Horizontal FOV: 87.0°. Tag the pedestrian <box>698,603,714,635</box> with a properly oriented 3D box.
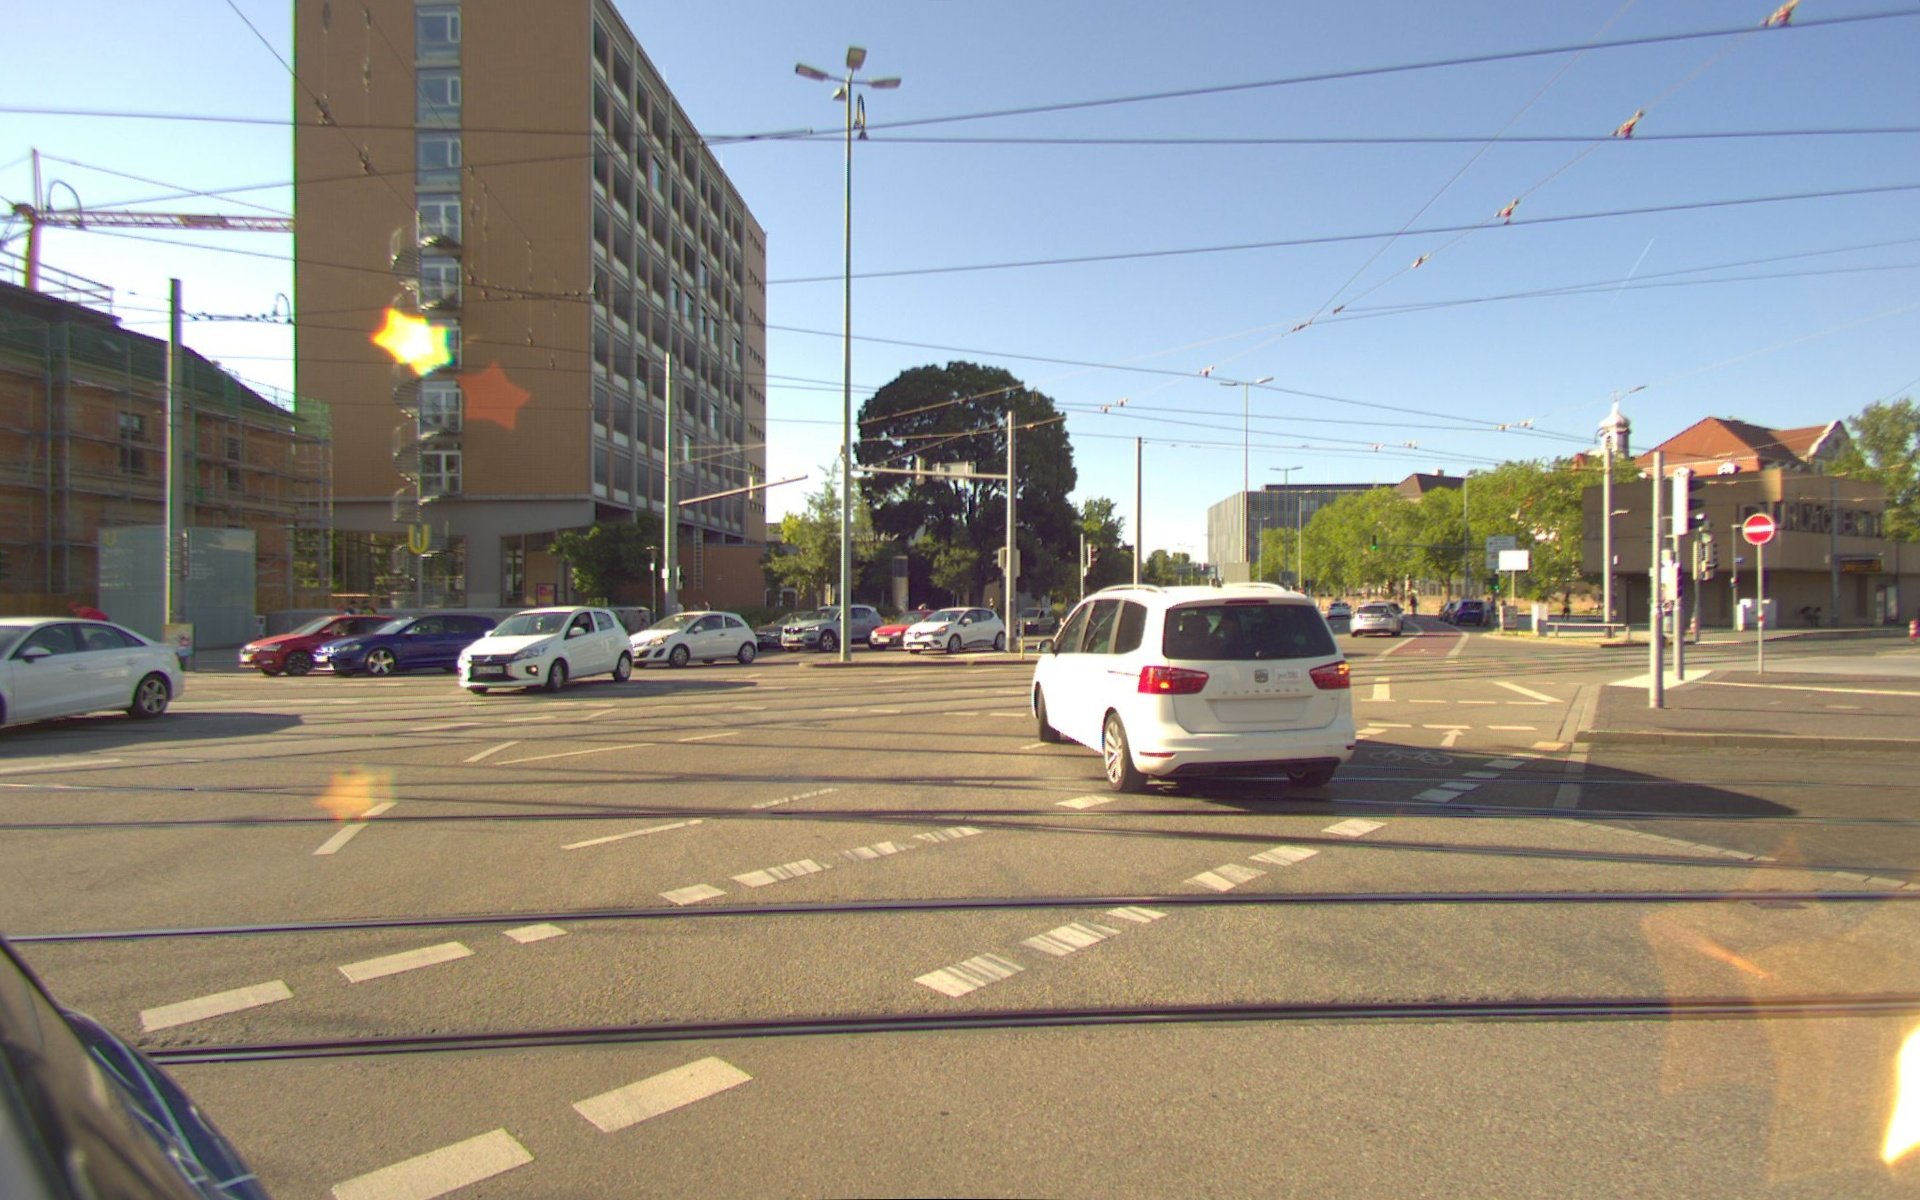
[{"bbox_3d":[-13.249,0.994,52.787,0.570,1.648,0.500,-3,-2,24],"label":"pedestrian"}]

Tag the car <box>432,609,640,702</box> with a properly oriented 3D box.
[{"bbox_3d":[-7.589,0.930,18.541,1.703,1.504,3.857,-1,-1,11],"label":"car"}]

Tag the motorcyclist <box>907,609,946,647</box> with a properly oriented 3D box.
[{"bbox_3d":[-1.544,1.295,46.565,1.116,1.680,1.436,-4,-3,37],"label":"motorcyclist"}]

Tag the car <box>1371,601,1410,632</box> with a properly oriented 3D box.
[{"bbox_3d":[24.220,0.916,56.832,1.713,1.643,3.835,-2,-1,27],"label":"car"}]

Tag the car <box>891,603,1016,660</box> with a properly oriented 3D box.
[{"bbox_3d":[-0.129,0.930,32.225,1.994,1.689,4.235,0,0,33],"label":"car"}]

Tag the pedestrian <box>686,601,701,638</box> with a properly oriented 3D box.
[{"bbox_3d":[-12.123,0.870,46.033,0.425,1.648,0.500,-3,-2,24],"label":"pedestrian"}]

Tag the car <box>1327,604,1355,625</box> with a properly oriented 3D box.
[{"bbox_3d":[31.473,1.189,83.614,1.847,1.643,3.839,-5,-2,24],"label":"car"}]

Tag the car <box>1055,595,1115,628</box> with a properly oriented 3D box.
[{"bbox_3d":[6.828,0.634,54.832,1.816,1.741,3.959,-1,-1,30],"label":"car"}]

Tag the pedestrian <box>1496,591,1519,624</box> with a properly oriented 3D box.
[{"bbox_3d":[30.732,0.448,56.848,0.796,1.782,0.969,-3,-2,13],"label":"pedestrian"}]

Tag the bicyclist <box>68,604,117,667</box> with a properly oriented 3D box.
[{"bbox_3d":[-24.673,0.994,28.784,1.001,1.721,0.695,2,1,-43],"label":"bicyclist"}]

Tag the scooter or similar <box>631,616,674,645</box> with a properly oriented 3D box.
[{"bbox_3d":[-14.418,1.436,47.519,1.798,1.256,0.802,-1,-2,-25],"label":"scooter or similar"}]

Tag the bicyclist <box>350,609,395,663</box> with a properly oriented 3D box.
[{"bbox_3d":[-18.084,1.105,31.139,1.002,1.599,0.694,2,1,-45],"label":"bicyclist"}]

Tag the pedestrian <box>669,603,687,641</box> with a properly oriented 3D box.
[{"bbox_3d":[-13.043,1.004,46.811,0.615,1.724,0.487,-1,-3,-39],"label":"pedestrian"}]

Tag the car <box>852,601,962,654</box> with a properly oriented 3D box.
[{"bbox_3d":[-1.810,0.971,35.713,1.993,1.697,3.958,-4,-2,31],"label":"car"}]

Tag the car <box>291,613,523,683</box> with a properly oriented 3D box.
[{"bbox_3d":[-13.055,1.111,24.199,1.812,1.504,4.601,-2,-3,33],"label":"car"}]

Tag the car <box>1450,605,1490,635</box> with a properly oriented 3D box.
[{"bbox_3d":[30.814,1.204,61.248,1.853,1.643,4.005,-5,-2,24],"label":"car"}]

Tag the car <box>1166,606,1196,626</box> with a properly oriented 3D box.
[{"bbox_3d":[19.769,1.415,90.429,1.812,1.741,3.968,-1,-1,23],"label":"car"}]

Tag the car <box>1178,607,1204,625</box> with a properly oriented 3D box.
[{"bbox_3d":[22.683,1.589,99.382,1.812,1.741,3.968,-1,-1,23],"label":"car"}]

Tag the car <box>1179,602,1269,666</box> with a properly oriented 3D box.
[{"bbox_3d":[8.007,0.972,30.453,1.930,1.760,4.585,0,-1,24],"label":"car"}]

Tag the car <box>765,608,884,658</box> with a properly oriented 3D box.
[{"bbox_3d":[-4.743,1.142,35.852,1.995,1.619,3.953,-2,-1,35],"label":"car"}]

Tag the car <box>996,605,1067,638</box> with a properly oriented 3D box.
[{"bbox_3d":[3.991,1.185,55.949,1.993,1.697,4.657,-4,-2,31],"label":"car"}]

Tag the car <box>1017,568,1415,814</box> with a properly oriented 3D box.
[{"bbox_3d":[2.020,0.659,9.571,1.910,1.747,4.474,0,0,-11],"label":"car"}]

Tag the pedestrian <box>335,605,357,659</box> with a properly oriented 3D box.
[{"bbox_3d":[-20.243,1.046,33.368,0.611,1.752,0.667,1,0,-31],"label":"pedestrian"}]

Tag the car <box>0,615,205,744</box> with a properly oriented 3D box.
[{"bbox_3d":[-11.748,0.930,12.325,1.801,1.398,4.457,0,0,0],"label":"car"}]

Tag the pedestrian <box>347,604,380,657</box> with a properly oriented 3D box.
[{"bbox_3d":[-20.039,1.028,34.021,0.619,1.752,0.726,1,0,27],"label":"pedestrian"}]

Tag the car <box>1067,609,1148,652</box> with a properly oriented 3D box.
[{"bbox_3d":[6.237,1.233,42.465,1.992,1.689,4.239,0,0,30],"label":"car"}]

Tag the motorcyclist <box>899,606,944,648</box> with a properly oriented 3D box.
[{"bbox_3d":[-1.588,1.115,41.734,1.116,1.680,1.436,-4,-3,37],"label":"motorcyclist"}]

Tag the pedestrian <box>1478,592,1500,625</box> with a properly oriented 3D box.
[{"bbox_3d":[29.873,0.498,57.192,0.796,1.782,0.959,-3,-2,13],"label":"pedestrian"}]

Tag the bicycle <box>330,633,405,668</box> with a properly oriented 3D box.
[{"bbox_3d":[-18.188,1.539,31.077,1.852,0.977,0.713,2,1,-45],"label":"bicycle"}]

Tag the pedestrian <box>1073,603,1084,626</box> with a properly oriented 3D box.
[{"bbox_3d":[8.825,1.077,75.577,0.563,1.674,0.586,-4,-3,31],"label":"pedestrian"}]

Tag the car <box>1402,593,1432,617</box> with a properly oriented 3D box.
[{"bbox_3d":[34.643,0.395,76.834,1.846,1.643,3.841,-4,-2,22],"label":"car"}]

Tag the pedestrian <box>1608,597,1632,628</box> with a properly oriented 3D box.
[{"bbox_3d":[39.225,0.755,60.128,0.957,1.782,0.806,-1,-3,-34],"label":"pedestrian"}]

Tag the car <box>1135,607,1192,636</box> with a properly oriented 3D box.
[{"bbox_3d":[12.943,1.354,64.197,1.993,1.697,4.657,-4,-2,31],"label":"car"}]

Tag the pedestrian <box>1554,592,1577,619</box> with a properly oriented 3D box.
[{"bbox_3d":[36.921,0.352,61.719,0.796,1.579,1.175,-3,-2,13],"label":"pedestrian"}]

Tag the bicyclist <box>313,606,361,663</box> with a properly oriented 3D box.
[{"bbox_3d":[-17.987,0.986,29.221,0.694,1.599,1.003,3,1,42],"label":"bicyclist"}]

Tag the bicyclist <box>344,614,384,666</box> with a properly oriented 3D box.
[{"bbox_3d":[-18.934,1.259,32.150,1.000,1.599,0.696,2,1,-36],"label":"bicyclist"}]

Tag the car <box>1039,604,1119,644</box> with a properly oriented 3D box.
[{"bbox_3d":[5.620,1.113,47.372,1.996,1.697,3.952,-4,-3,35],"label":"car"}]

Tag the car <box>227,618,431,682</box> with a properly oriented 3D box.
[{"bbox_3d":[-15.722,1.208,25.405,1.751,1.475,3.974,-1,-2,33],"label":"car"}]

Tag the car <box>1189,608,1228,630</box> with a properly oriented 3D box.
[{"bbox_3d":[21.084,1.615,85.799,1.991,1.697,4.660,-4,-2,29],"label":"car"}]

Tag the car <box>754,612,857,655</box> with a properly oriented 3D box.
[{"bbox_3d":[-5.968,1.278,39.507,1.752,1.475,3.973,-1,1,33],"label":"car"}]

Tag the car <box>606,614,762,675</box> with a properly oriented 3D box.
[{"bbox_3d":[-7.285,1.124,27.033,1.779,1.475,3.872,0,0,32],"label":"car"}]
